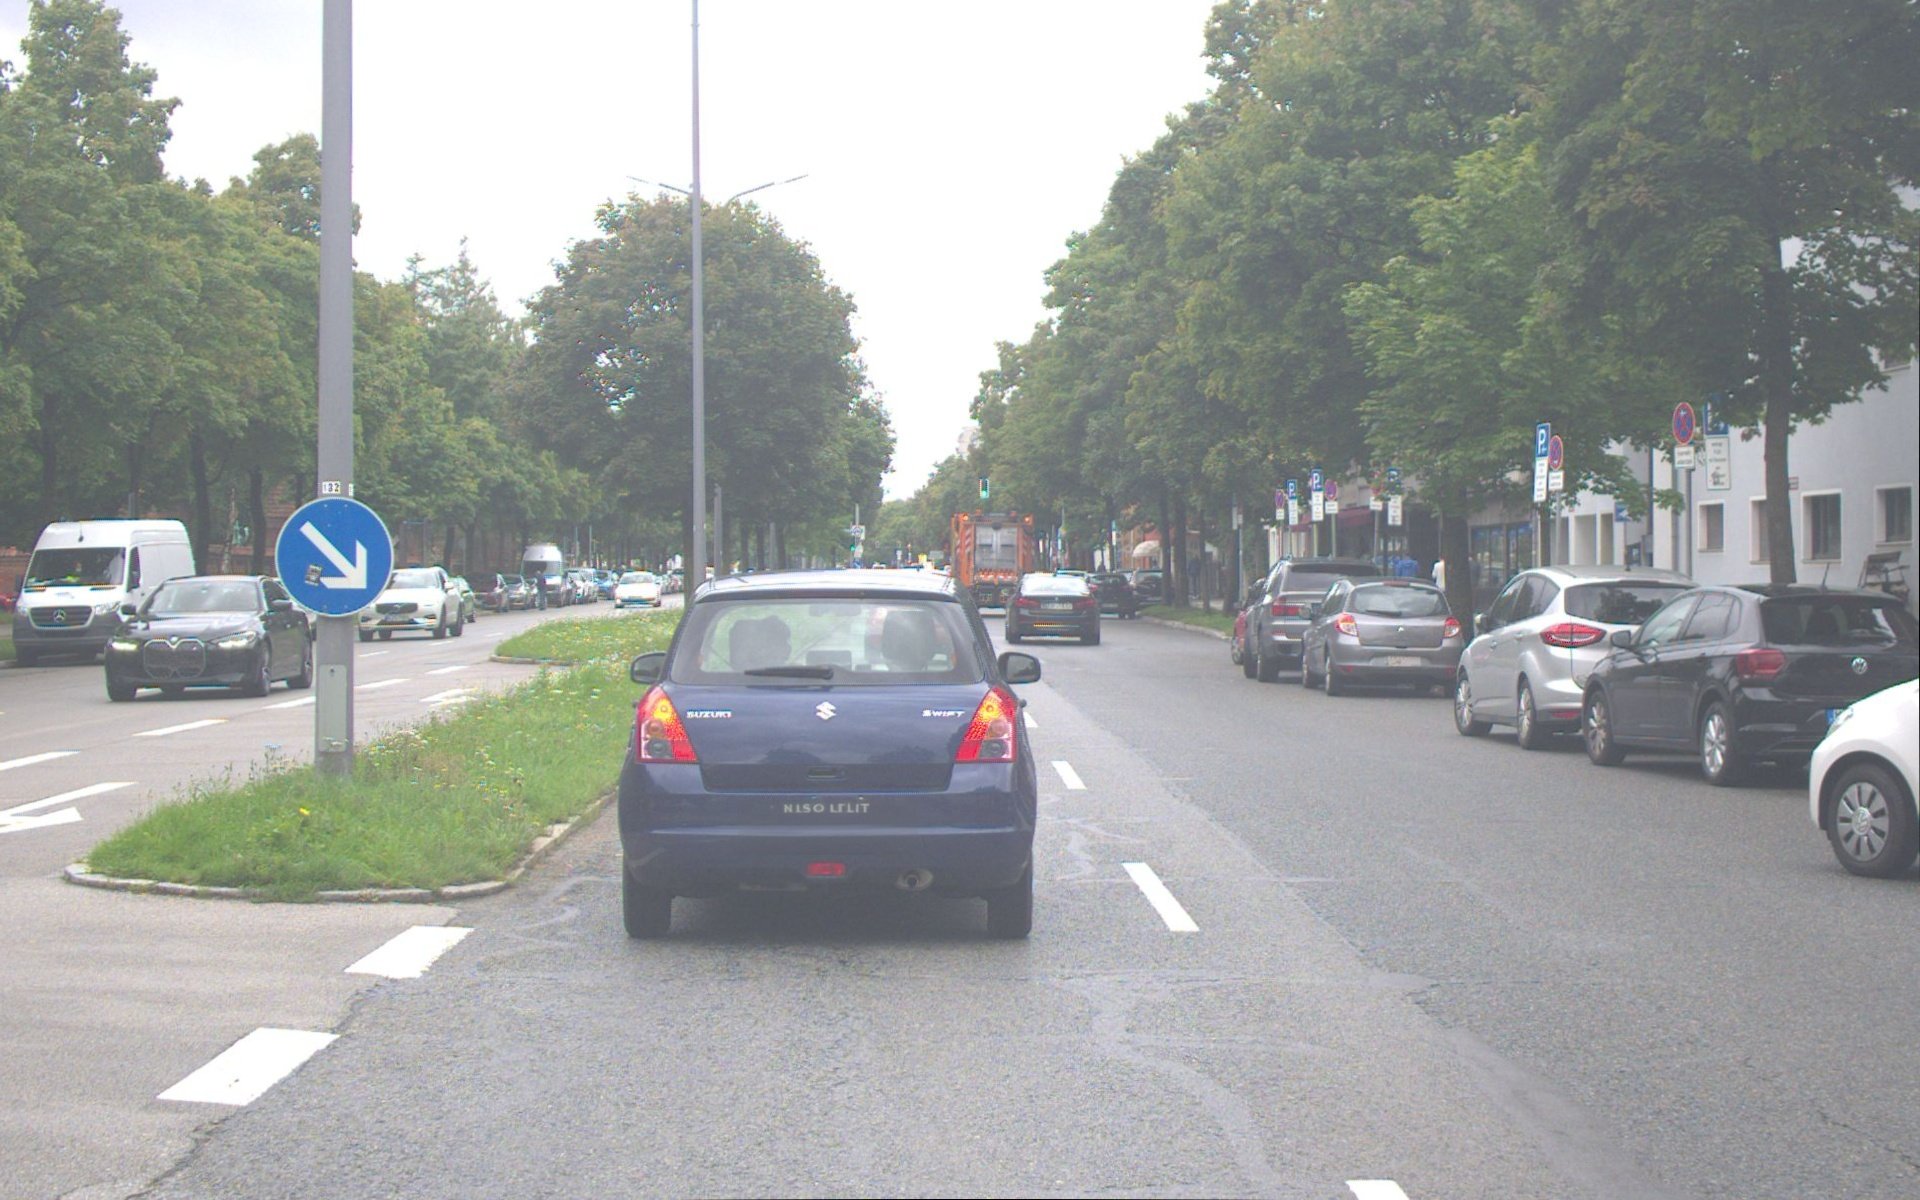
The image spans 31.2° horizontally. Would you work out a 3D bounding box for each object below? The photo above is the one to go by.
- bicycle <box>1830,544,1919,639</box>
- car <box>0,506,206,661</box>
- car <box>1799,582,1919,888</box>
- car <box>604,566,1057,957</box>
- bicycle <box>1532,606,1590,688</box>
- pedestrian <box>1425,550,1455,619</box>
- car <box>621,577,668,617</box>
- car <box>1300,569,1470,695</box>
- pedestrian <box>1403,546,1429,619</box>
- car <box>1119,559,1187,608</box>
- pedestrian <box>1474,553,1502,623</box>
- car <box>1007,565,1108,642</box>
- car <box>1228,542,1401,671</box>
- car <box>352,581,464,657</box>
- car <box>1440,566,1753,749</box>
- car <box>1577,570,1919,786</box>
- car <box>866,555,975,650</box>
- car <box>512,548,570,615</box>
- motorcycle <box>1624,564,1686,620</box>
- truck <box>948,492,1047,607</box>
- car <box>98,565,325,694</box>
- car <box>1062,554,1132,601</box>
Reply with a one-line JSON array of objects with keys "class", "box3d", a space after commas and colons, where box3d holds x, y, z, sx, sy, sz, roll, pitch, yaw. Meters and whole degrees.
[{"class": "bicycle", "box3d": [14.038, -0.141, 52.630, 0.702, 1.402, 2.593, -2, 1, -1]}, {"class": "car", "box3d": [-15.743, -0.352, 63.341, 2.139, 2.634, 7.105, -2, 1, -1]}, {"class": "car", "box3d": [5.904, 0.668, 16.461, 1.687, 1.485, 3.435, 0, 1, -33]}, {"class": "car", "box3d": [-0.504, 0.607, 15.306, 1.753, 1.499, 4.000, 0, 1, 0]}, {"class": "bicycle", "box3d": [7.285, 0.559, 41.724, 0.385, 0.944, 1.675, 0, 1, -1]}, {"class": "pedestrian", "box3d": [11.309, -0.368, 80.996, 0.549, 1.624, 0.641, -2, 0, -1]}, {"class": "car", "box3d": [-13.195, -0.149, 143.982, 1.761, 1.532, 4.315, -3, 1, -3]}, {"class": "car", "box3d": [5.346, 0.366, 43.637, 1.829, 1.517, 3.770, 0, 1, 2]}, {"class": "pedestrian", "box3d": [10.731, -0.411, 80.981, 0.499, 1.727, 0.733, 0, 0, -1]}, {"class": "car", "box3d": [6.515, -0.569, 116.338, 1.993, 1.637, 4.333, 0, 1, -1]}, {"class": "pedestrian", "box3d": [12.490, -0.292, 81.370, 0.541, 1.635, 0.724, 0, 0, -1]}, {"class": "car", "box3d": [1.987, 0.046, 71.099, 1.821, 1.472, 4.691, 2, 1, -1]}, {"class": "car", "box3d": [4.966, 0.054, 48.694, 1.829, 1.740, 4.509, 0, 1, -2]}, {"class": "car", "box3d": [-12.630, 0.404, 78.880, 1.851, 1.595, 4.403, -2, 1, 0]}, {"class": "car", "box3d": [5.641, 0.460, 30.995, 1.829, 1.517, 4.524, 0, 1, -2]}, {"class": "car", "box3d": [6.027, 0.521, 25.589, 1.829, 1.468, 3.889, 0, 1, -6]}, {"class": "car", "box3d": [-0.665, 0.014, 56.631, 1.718, 1.495, 4.301, 0, 1, -1]}, {"class": "car", "box3d": [-18.991, -0.861, 155.901, 2.185, 2.943, 6.192, 1, 1, -3]}, {"class": "motorcycle", "box3d": [13.636, -0.167, 67.511, 0.761, 1.082, 2.199, -1, 1, 0]}, {"class": "truck", "box3d": [1.155, -1.641, 113.577, 3.041, 3.545, 13.675, 0, 1, 0]}, {"class": "car", "box3d": [-9.033, 0.309, 41.848, 1.815, 1.443, 4.783, -1, 1, -2]}, {"class": "car", "box3d": [4.309, -0.726, 108.725, 1.993, 1.447, 4.000, 0, 1, -1]}]
